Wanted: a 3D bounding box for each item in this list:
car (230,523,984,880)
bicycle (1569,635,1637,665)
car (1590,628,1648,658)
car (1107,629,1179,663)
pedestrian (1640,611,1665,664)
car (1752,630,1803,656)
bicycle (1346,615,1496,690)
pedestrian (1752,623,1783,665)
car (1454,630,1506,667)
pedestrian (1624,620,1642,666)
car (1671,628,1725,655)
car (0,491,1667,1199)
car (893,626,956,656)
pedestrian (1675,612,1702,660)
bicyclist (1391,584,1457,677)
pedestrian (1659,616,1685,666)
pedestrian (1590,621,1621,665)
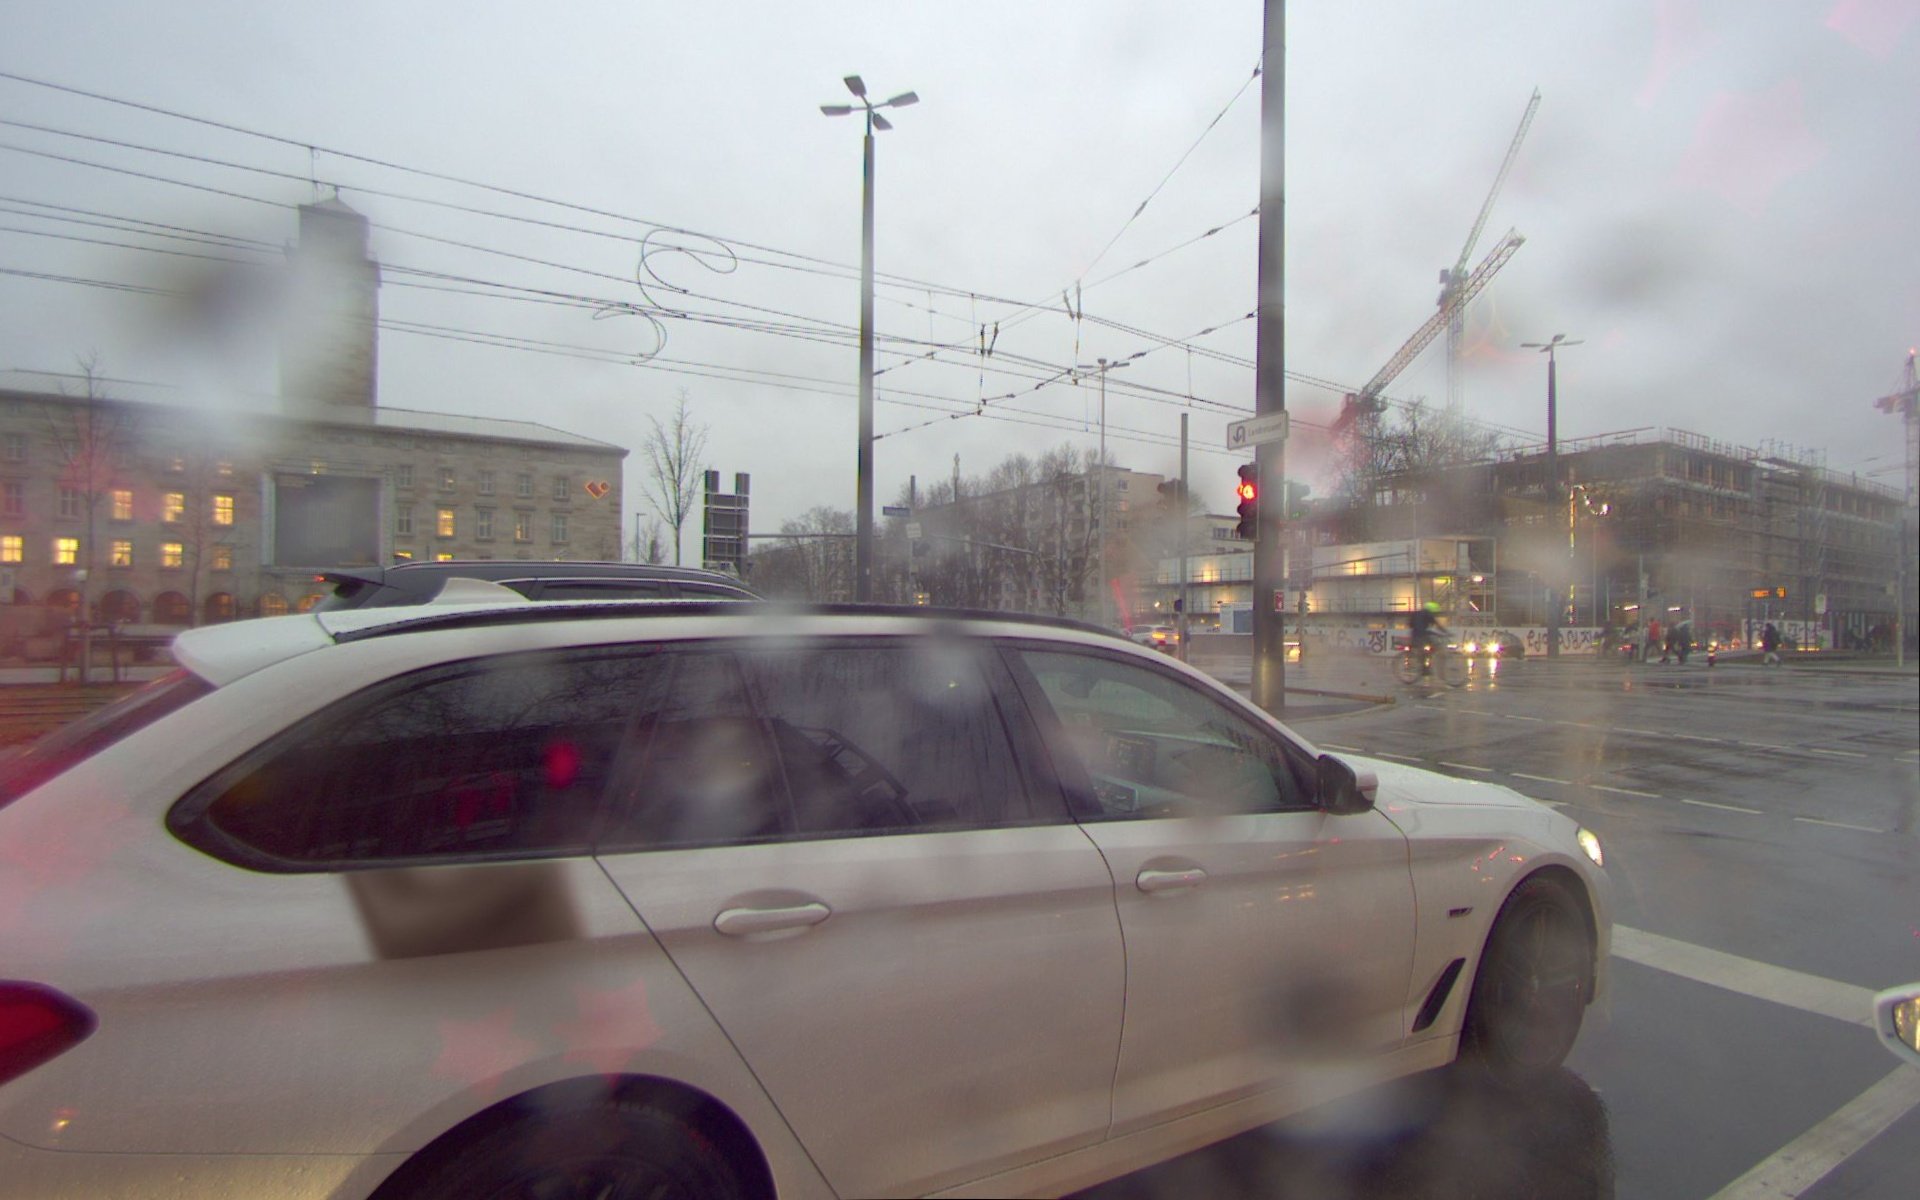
[{"bbox_3d":[-2.176,0.574,6.980,4.564,1.766,1.692,2,-2,-34],"label":"car"},{"bbox_3d":[23.987,1.839,37.514,0.535,1.004,2.119,6,-3,-28],"label":"bicycle"},{"bbox_3d":[45.476,2.957,69.268,3.959,2.040,1.981,2,-2,-34],"label":"car"},{"bbox_3d":[10.160,2.548,55.932,1.685,1.785,4.286,1,-2,-27],"label":"car"},{"bbox_3d":[28.225,1.527,40.951,0.674,2.115,0.613,0,-1,20],"label":"pedestrian"},{"bbox_3d":[67.169,3.508,82.546,3.953,2.040,1.984,2,-2,-30],"label":"car"},{"bbox_3d":[9.550,1.054,20.957,0.714,1.380,2.808,2,0,-38],"label":"bicycle"},{"bbox_3d":[31.977,1.726,39.787,0.668,1.640,0.708,1,-1,-7],"label":"pedestrian"},{"bbox_3d":[29.751,2.739,57.434,1.736,2.040,3.980,-1,-2,41],"label":"car"},{"bbox_3d":[29.914,1.915,44.660,0.635,2.040,0.503,1,-1,-40],"label":"pedestrian"},{"bbox_3d":[57.186,3.216,77.824,3.953,2.040,1.984,2,-2,-30],"label":"car"},{"bbox_3d":[-0.109,0.699,3.003,4.868,1.540,1.900,2,-2,-32],"label":"car"},{"bbox_3d":[-2.126,2.409,59.335,1.978,1.706,3.965,1,-2,-33],"label":"car"},{"bbox_3d":[31.149,1.543,42.938,0.741,2.040,0.785,2,-2,-40],"label":"pedestrian"},{"bbox_3d":[9.619,0.619,20.836,0.715,1.863,0.986,2,0,-39],"label":"bicyclist"},{"bbox_3d":[29.086,1.661,41.041,0.762,2.040,0.613,0,-1,22],"label":"pedestrian"},{"bbox_3d":[24.014,1.580,37.358,0.530,1.590,0.811,4,-3,-29],"label":"pedestrian"}]
